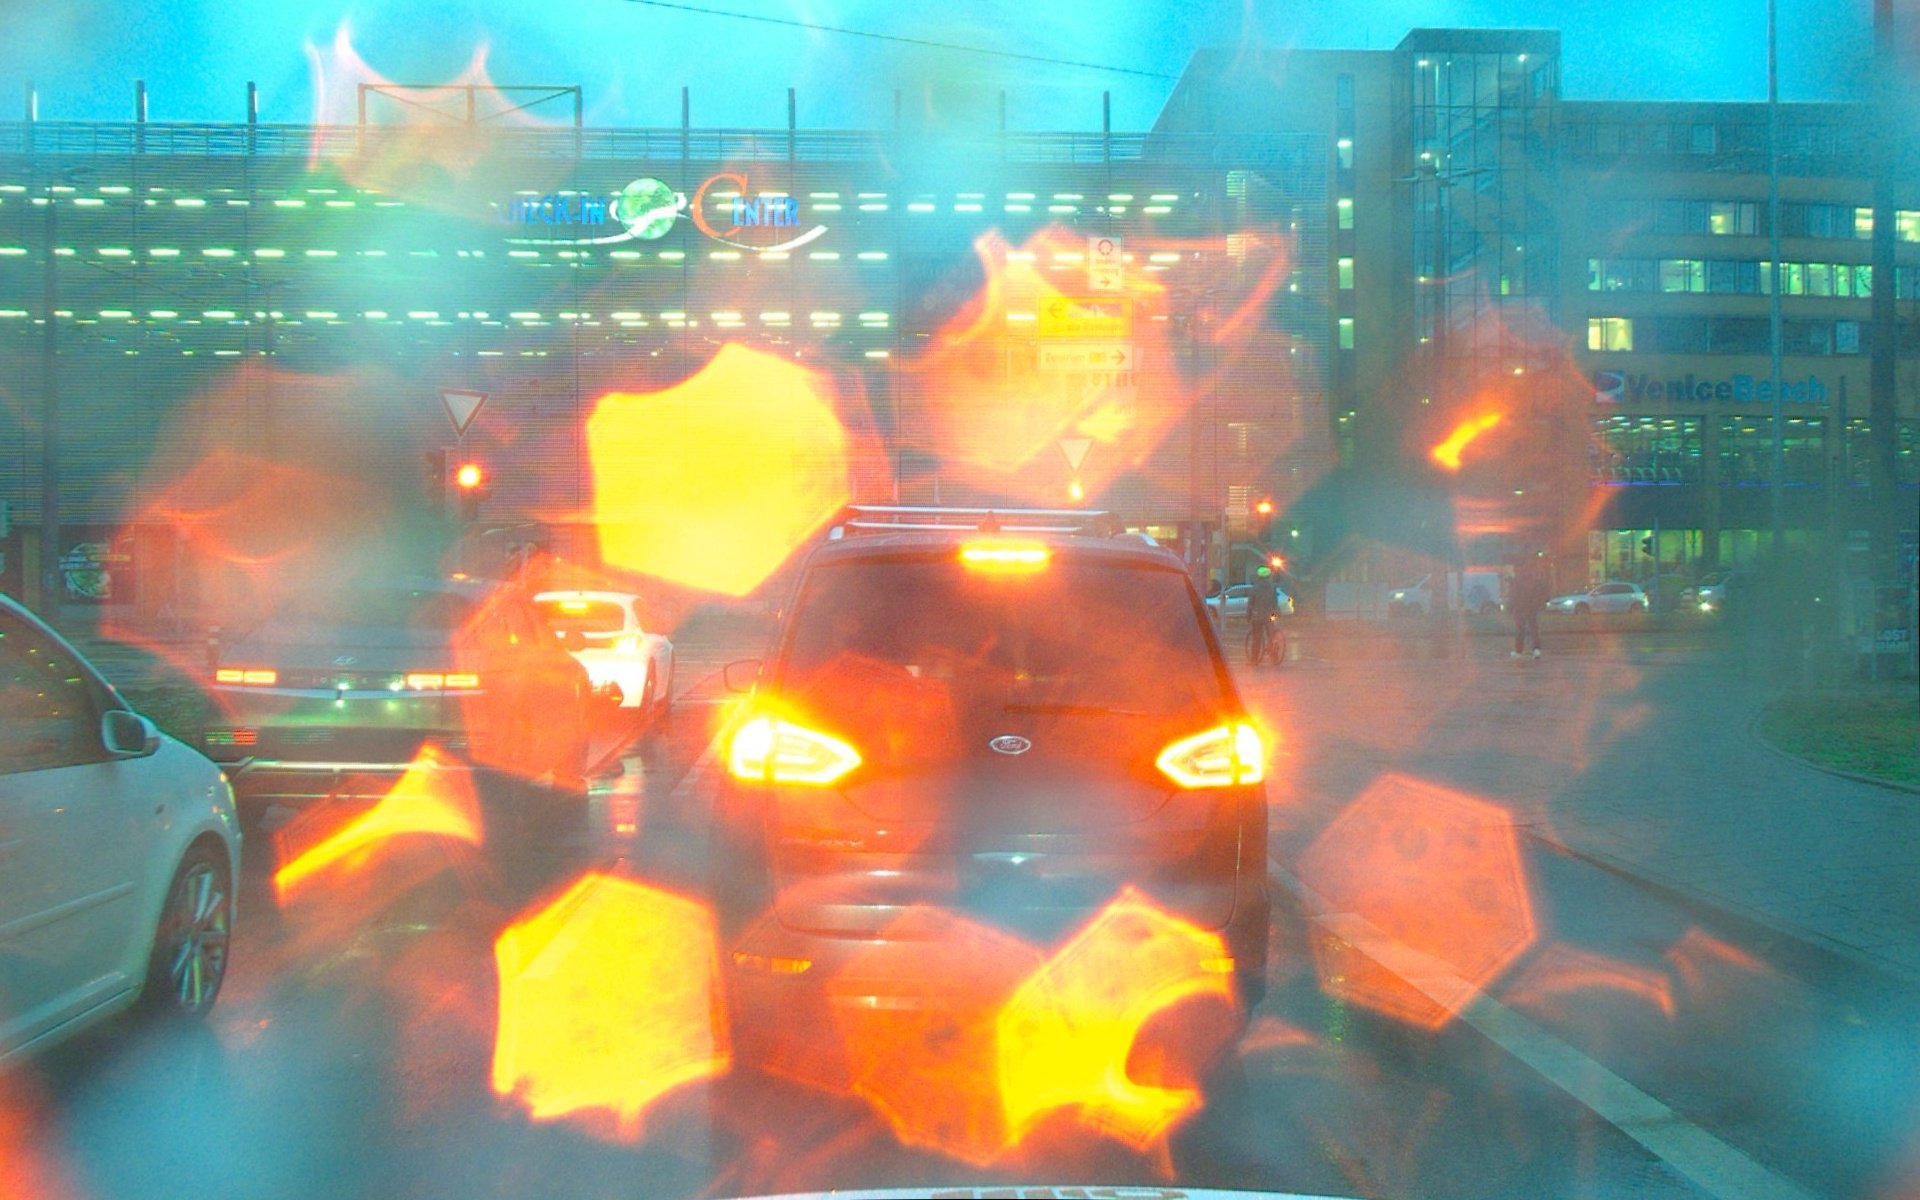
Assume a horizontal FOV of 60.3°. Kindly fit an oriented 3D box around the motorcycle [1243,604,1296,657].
[{"bbox_3d":[5.930,0.575,31.744,0.835,0.989,1.582,0,0,5],"label":"motorcycle"}]

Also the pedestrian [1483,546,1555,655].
[{"bbox_3d":[10.358,0.003,30.619,1.146,1.957,0.898,2,0,22],"label":"pedestrian"}]

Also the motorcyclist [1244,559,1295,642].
[{"bbox_3d":[5.932,0.015,31.758,0.850,1.561,1.109,0,0,5],"label":"motorcyclist"}]

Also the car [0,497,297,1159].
[{"bbox_3d":[-3.241,0.556,4.121,1.637,1.689,4.146,2,1,-3],"label":"car"}]

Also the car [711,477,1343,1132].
[{"bbox_3d":[0.088,0.557,6.698,1.700,1.768,4.244,2,0,-3],"label":"car"}]

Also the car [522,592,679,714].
[{"bbox_3d":[-4.113,0.549,19.380,1.512,1.273,4.060,0,0,-8],"label":"car"}]

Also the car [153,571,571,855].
[{"bbox_3d":[-3.875,0.634,11.443,1.718,1.601,3.996,0,0,-5],"label":"car"}]

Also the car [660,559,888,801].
[{"bbox_3d":[-1.491,0.576,13.698,1.604,1.726,3.667,1,0,-5],"label":"car"}]

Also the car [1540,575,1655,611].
[{"bbox_3d":[26.477,-0.292,68.785,4.136,1.414,1.797,-1,0,-8],"label":"car"}]

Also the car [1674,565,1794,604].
[{"bbox_3d":[32.752,-0.658,70.001,4.348,1.561,1.797,-1,0,-8],"label":"car"}]

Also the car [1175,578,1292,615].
[{"bbox_3d":[10.989,-0.151,66.533,4.336,1.414,1.797,-1,0,-8],"label":"car"}]

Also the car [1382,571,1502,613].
[{"bbox_3d":[19.579,-0.325,67.302,4.336,1.623,1.797,-1,0,-8],"label":"car"}]
